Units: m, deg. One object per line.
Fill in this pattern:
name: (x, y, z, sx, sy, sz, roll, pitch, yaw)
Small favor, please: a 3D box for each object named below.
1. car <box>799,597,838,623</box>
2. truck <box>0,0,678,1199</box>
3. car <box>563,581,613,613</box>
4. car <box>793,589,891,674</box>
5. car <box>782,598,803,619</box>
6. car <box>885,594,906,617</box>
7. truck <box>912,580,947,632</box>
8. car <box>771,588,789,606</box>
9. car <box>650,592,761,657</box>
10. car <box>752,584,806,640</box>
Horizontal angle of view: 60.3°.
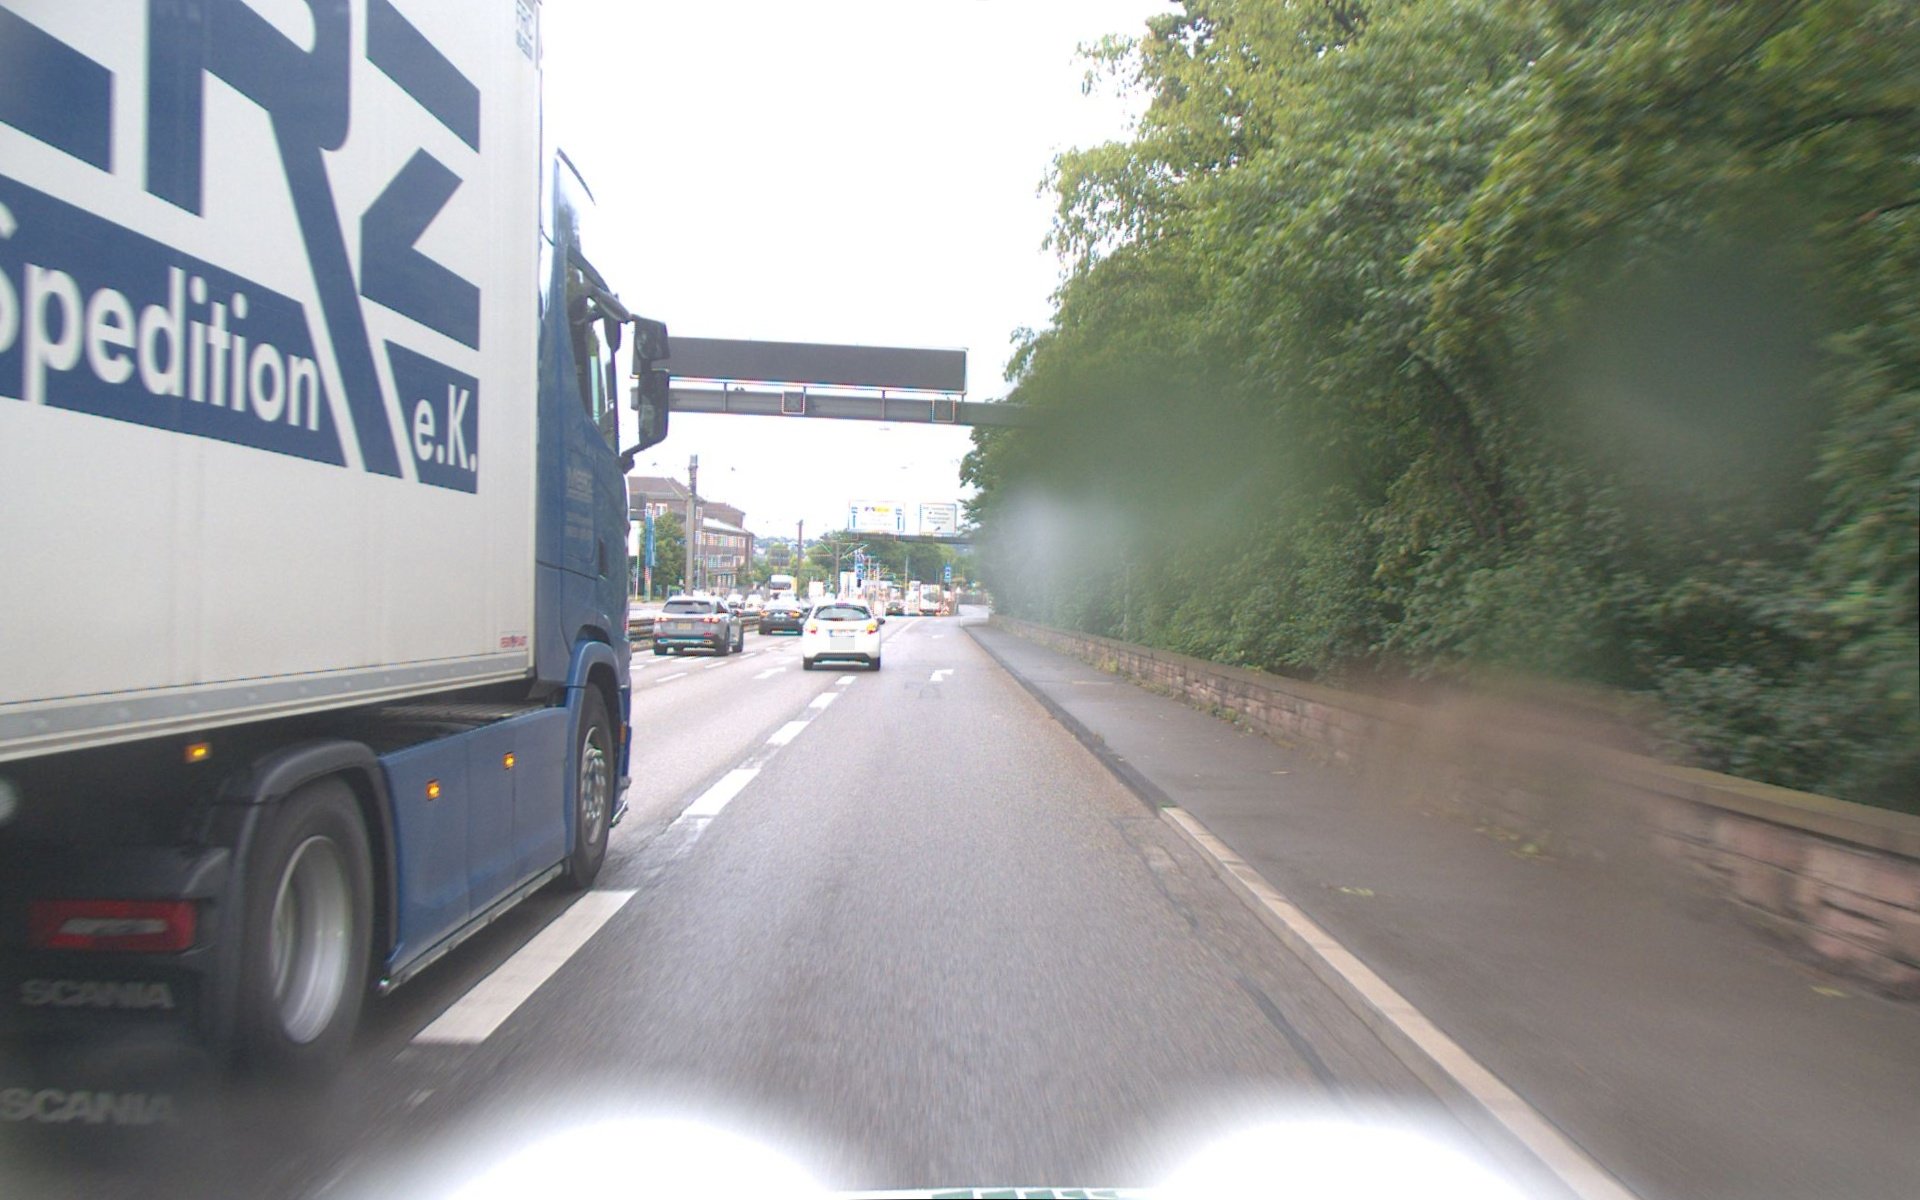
car: (-9.265, 0.658, 108.330, 1.952, 1.603, 4.001, 1, -1, 3)
truck: (-3.046, -0.683, 6.634, 2.706, 4.270, 6.783, 1, 0, -1)
car: (-21.806, -0.133, 97.021, 1.953, 1.691, 3.999, 3, -1, -1)
car: (-2.536, 0.641, 36.314, 1.916, 1.513, 4.000, 3, 3, -2)
car: (-19.266, 0.980, 190.000, 1.953, 2.049, 3.998, 3, -3, -1)
car: (-6.562, 0.596, 169.556, 1.953, 2.049, 3.998, 3, -3, -1)
truck: (-3.638, 0.780, 200.107, 3.393, 5.496, 12.050, 3, -3, 1)
car: (-23.690, -0.368, 217.894, 1.953, 2.049, 3.998, 3, -3, -1)
car: (-6.538, 0.620, 42.885, 1.782, 1.593, 4.095, 0, 0, 7)
car: (-7.207, 0.452, 66.236, 1.686, 1.923, 3.537, 2, 3, 1)
